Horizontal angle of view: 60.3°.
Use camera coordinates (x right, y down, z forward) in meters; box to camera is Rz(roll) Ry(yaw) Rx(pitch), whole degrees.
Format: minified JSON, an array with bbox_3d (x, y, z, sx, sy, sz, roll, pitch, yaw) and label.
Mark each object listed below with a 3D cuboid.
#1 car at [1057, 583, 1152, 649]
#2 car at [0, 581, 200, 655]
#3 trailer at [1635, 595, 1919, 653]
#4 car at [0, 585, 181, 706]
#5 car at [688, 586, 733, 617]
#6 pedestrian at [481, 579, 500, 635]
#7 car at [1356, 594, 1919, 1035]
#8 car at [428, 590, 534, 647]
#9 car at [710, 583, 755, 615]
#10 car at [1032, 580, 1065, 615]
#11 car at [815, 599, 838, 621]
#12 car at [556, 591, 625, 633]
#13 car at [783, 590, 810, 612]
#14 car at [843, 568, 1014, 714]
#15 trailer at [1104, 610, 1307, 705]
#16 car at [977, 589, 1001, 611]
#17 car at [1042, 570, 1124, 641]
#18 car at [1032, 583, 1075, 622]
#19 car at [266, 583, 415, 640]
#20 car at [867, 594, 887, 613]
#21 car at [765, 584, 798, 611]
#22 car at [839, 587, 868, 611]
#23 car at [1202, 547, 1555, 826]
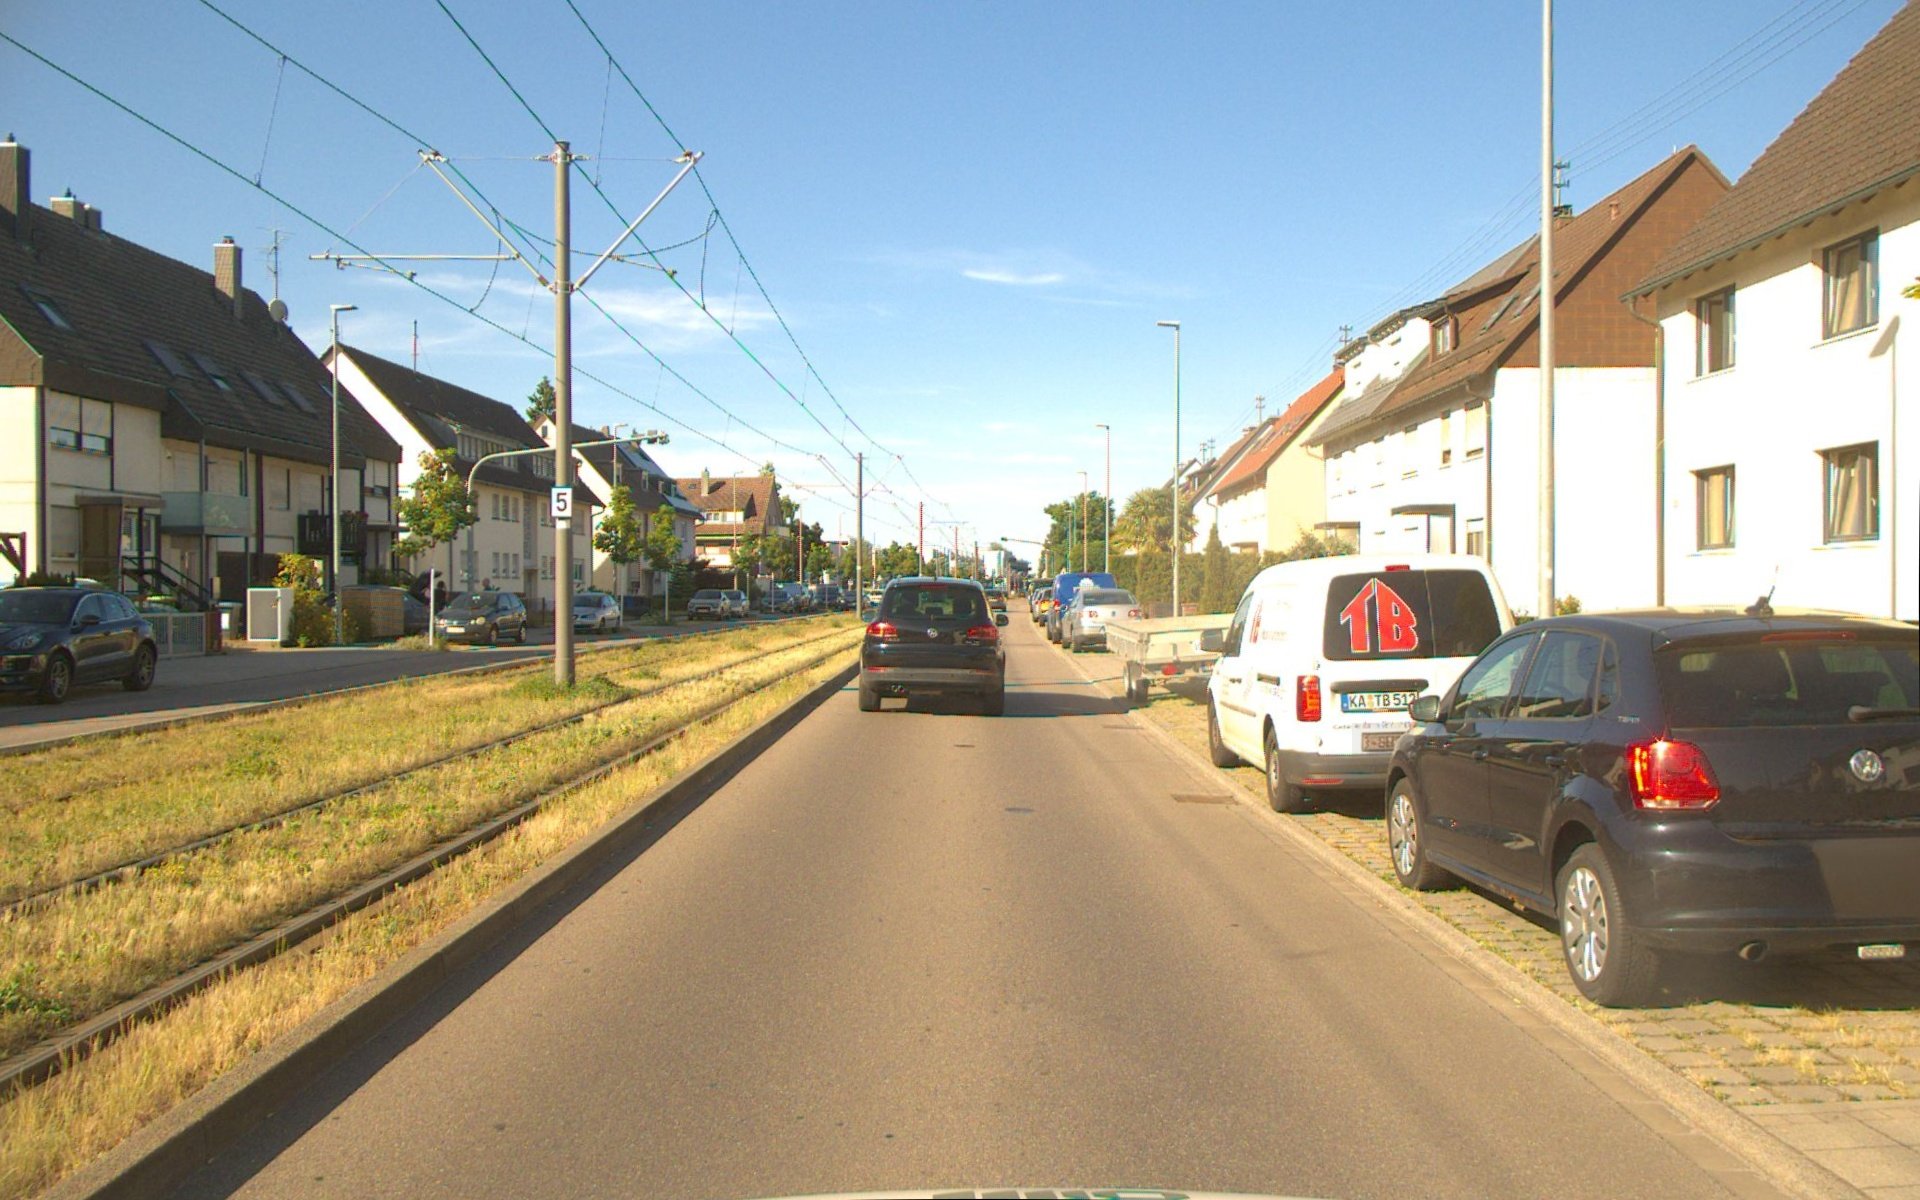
[{"bbox_3d":[3.458,0.357,40.318,1.750,1.466,4.458,-2,0,-2],"label":"car"},{"bbox_3d":[-20.092,0.402,38.378,4.083,1.645,1.758,0,0,-4],"label":"car"},{"bbox_3d":[15.705,0.447,31.911,4.705,1.046,1.644,-1,0,3],"label":"trailer"},{"bbox_3d":[-13.524,0.596,24.633,1.767,1.625,4.809,0,1,-3],"label":"car"},{"bbox_3d":[-12.355,0.058,81.960,1.625,1.523,3.580,-1,0,0],"label":"car"},{"bbox_3d":[-14.860,0.211,52.367,0.458,1.776,0.536,0,0,-1],"label":"pedestrian"},{"bbox_3d":[3.158,0.722,7.679,1.637,1.478,4.125,-1,0,0],"label":"car"},{"bbox_3d":[-13.285,0.492,46.045,1.584,1.478,3.720,-1,1,5],"label":"car"},{"bbox_3d":[-12.101,-0.057,88.120,1.766,1.660,4.000,0,1,0],"label":"car"},{"bbox_3d":[4.048,-0.142,76.232,1.421,1.579,3.830,0,0,1],"label":"car"},{"bbox_3d":[-10.253,0.778,127.109,1.435,1.706,3.287,-1,0,0],"label":"car"},{"bbox_3d":[-13.092,0.442,58.818,1.585,1.434,3.717,-1,-1,0],"label":"car"},{"bbox_3d":[-10.866,0.060,110.174,1.484,1.385,3.590,-1,0,-1],"label":"car"},{"bbox_3d":[-0.516,0.488,21.771,1.777,1.700,4.251,1,0,-7],"label":"car"},{"bbox_3d":[3.361,0.753,23.519,2.159,1.113,4.371,-2,0,-1],"label":"trailer"},{"bbox_3d":[1.916,0.005,110.194,1.540,1.415,3.614,0,0,0],"label":"car"},{"bbox_3d":[3.422,0.129,46.678,1.952,1.894,4.917,-1,0,0],"label":"car"},{"bbox_3d":[3.864,0.111,68.813,1.611,1.561,3.864,0,0,0],"label":"car"},{"bbox_3d":[-18.391,0.326,49.251,3.828,1.595,1.732,-1,0,-8],"label":"car"},{"bbox_3d":[-6.732,0.279,134.862,1.435,1.479,3.287,-1,0,0],"label":"car"},{"bbox_3d":[-11.206,-0.146,104.113,1.626,1.609,4.000,-1,-1,0],"label":"car"},{"bbox_3d":[-7.780,-0.037,121.525,1.835,1.684,3.999,-1,-1,0],"label":"car"},{"bbox_3d":[3.077,0.543,13.147,1.655,1.807,4.656,-1,0,0],"label":"car"}]
